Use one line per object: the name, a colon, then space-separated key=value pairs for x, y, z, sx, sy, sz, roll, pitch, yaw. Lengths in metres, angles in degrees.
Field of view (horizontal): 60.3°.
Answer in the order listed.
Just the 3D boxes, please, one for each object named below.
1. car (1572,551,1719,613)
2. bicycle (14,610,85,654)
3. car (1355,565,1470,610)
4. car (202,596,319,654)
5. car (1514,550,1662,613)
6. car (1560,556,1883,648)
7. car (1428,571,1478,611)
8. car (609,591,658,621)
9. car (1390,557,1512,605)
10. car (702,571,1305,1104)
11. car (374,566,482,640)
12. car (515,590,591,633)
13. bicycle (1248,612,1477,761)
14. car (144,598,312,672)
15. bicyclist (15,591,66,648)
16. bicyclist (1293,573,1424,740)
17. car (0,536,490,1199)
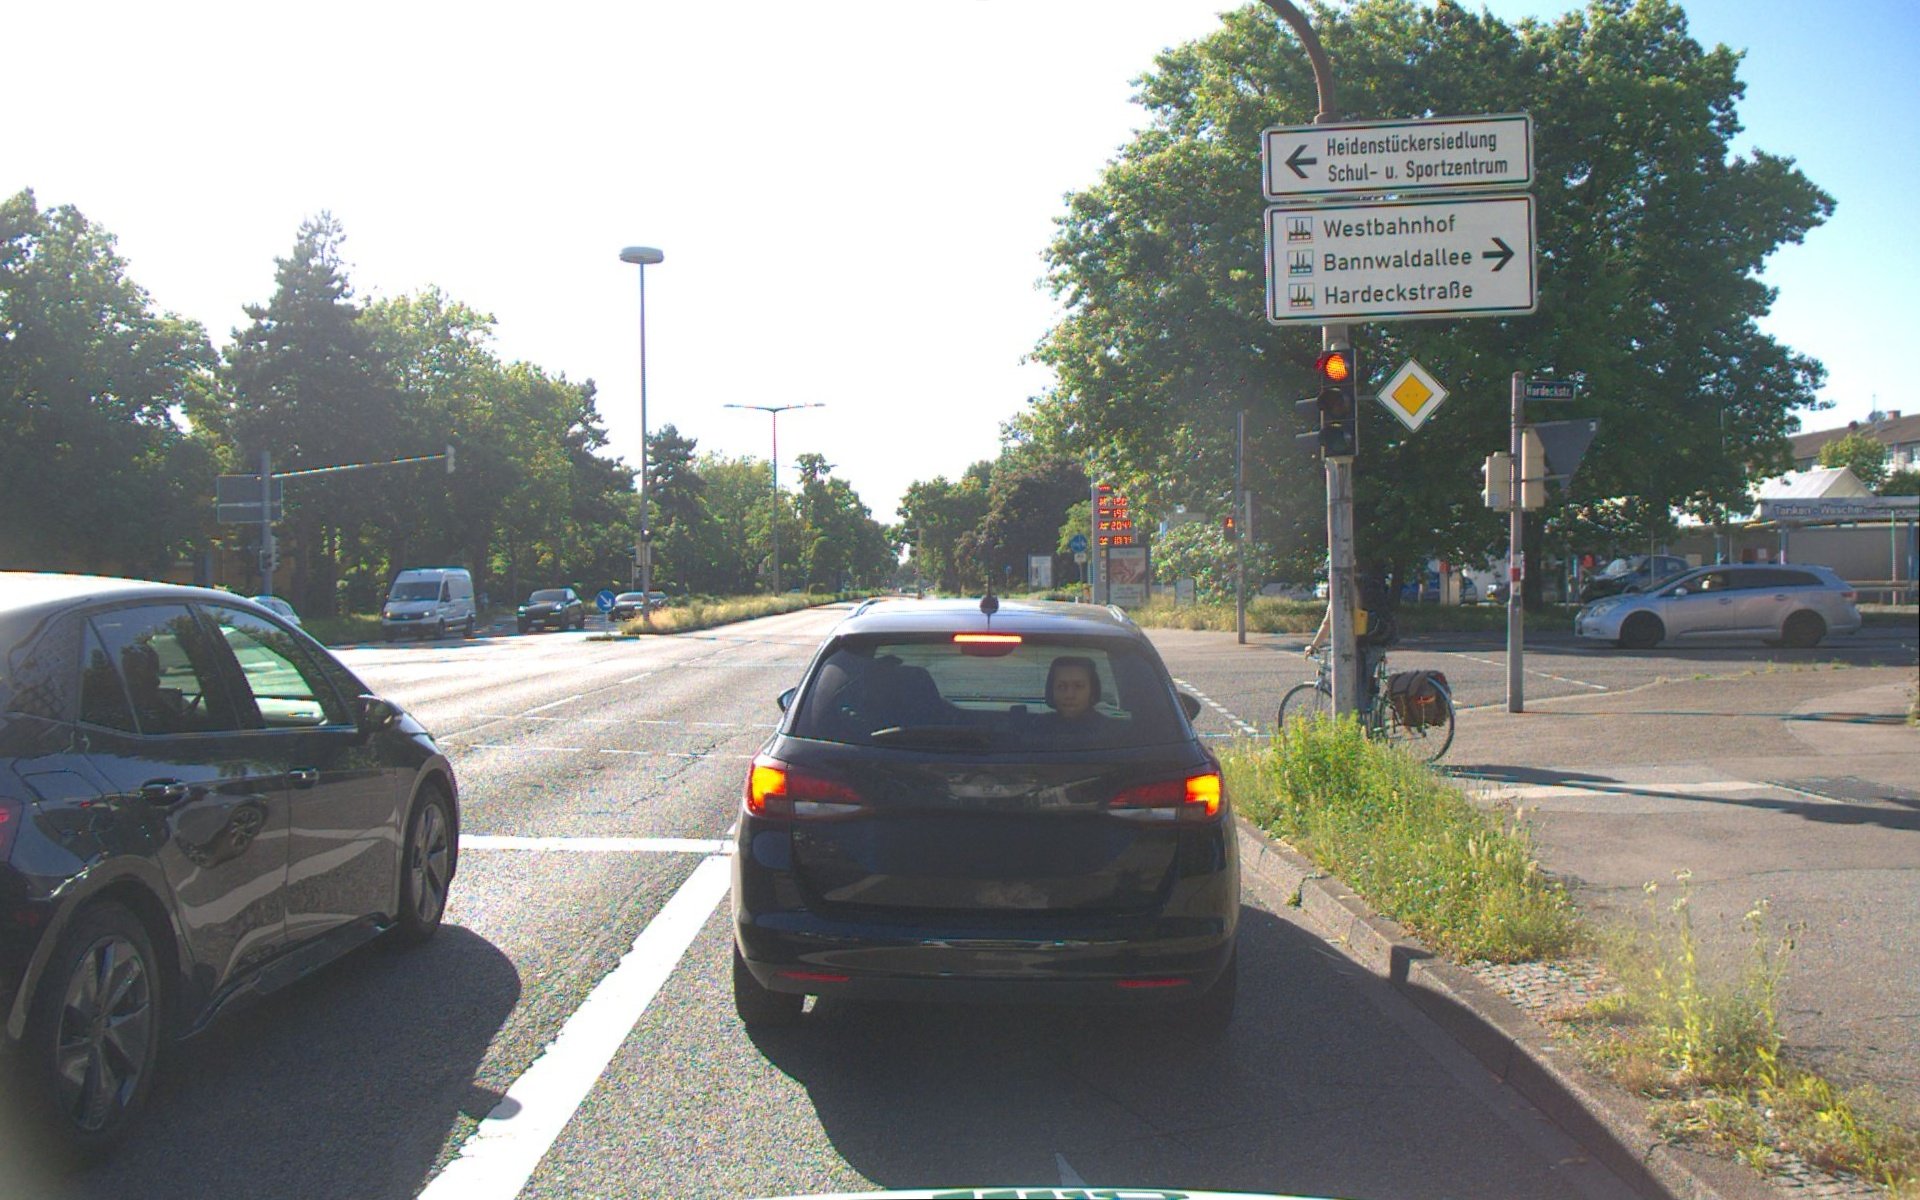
car: x=19.991 y=-0.536 z=48.204 sx=3.934 sy=1.709 sz=1.732 roll=-2 pitch=0 yaw=-24
bicycle: x=-27.673 y=0.953 z=50.310 sx=0.858 sy=1.233 sz=2.534 roll=-2 pitch=0 yaw=-4
car: x=16.435 y=-0.466 z=60.068 sx=3.837 sy=1.544 sz=1.732 roll=-2 pitch=0 yaw=-24
car: x=-19.981 y=0.672 z=47.419 sx=1.652 sy=1.535 sz=4.003 roll=-1 pitch=0 yaw=-1
car: x=18.985 y=-0.565 z=50.030 sx=3.935 sy=1.780 sz=1.985 roll=-2 pitch=1 yaw=-24
car: x=13.538 y=0.030 z=29.712 sx=4.897 sy=1.512 sz=2.002 roll=-1 pitch=0 yaw=11
car: x=22.211 y=-0.404 z=74.677 sx=1.702 sy=1.709 sz=4.004 roll=-1 pitch=0 yaw=10
car: x=-16.865 y=0.283 z=85.569 sx=1.740 sy=1.488 sz=4.164 roll=-1 pitch=0 yaw=-1
car: x=16.912 y=-0.653 z=56.993 sx=3.837 sy=1.544 sz=1.732 roll=-2 pitch=0 yaw=-24
car: x=0.100 y=0.686 z=6.847 sx=1.721 sy=1.521 sz=4.206 roll=0 pitch=0 yaw=-1
car: x=-19.519 y=0.074 z=61.025 sx=2.057 sy=2.536 sz=6.003 roll=-1 pitch=0 yaw=-1
car: x=-16.438 y=0.449 z=67.005 sx=1.953 sy=1.629 sz=4.615 roll=-1 pitch=0 yaw=-1
bicycle: x=3.225 y=0.701 z=13.380 sx=0.533 sy=1.117 sz=1.748 roll=-2 pitch=-2 yaw=-44
car: x=-15.896 y=0.710 z=36.193 sx=1.652 sy=1.458 sz=4.614 roll=-1 pitch=0 yaw=-1
bicyclist: x=-27.796 y=0.567 z=50.018 sx=0.858 sy=1.677 sz=1.198 roll=-2 pitch=0 yaw=-4
bicyclist: x=3.217 y=0.455 z=13.382 sx=0.534 sy=1.299 sz=0.816 roll=-2 pitch=-2 yaw=-44
car: x=-3.001 y=0.660 z=5.615 sx=1.650 sy=1.608 sz=4.206 roll=0 pitch=0 yaw=-1
